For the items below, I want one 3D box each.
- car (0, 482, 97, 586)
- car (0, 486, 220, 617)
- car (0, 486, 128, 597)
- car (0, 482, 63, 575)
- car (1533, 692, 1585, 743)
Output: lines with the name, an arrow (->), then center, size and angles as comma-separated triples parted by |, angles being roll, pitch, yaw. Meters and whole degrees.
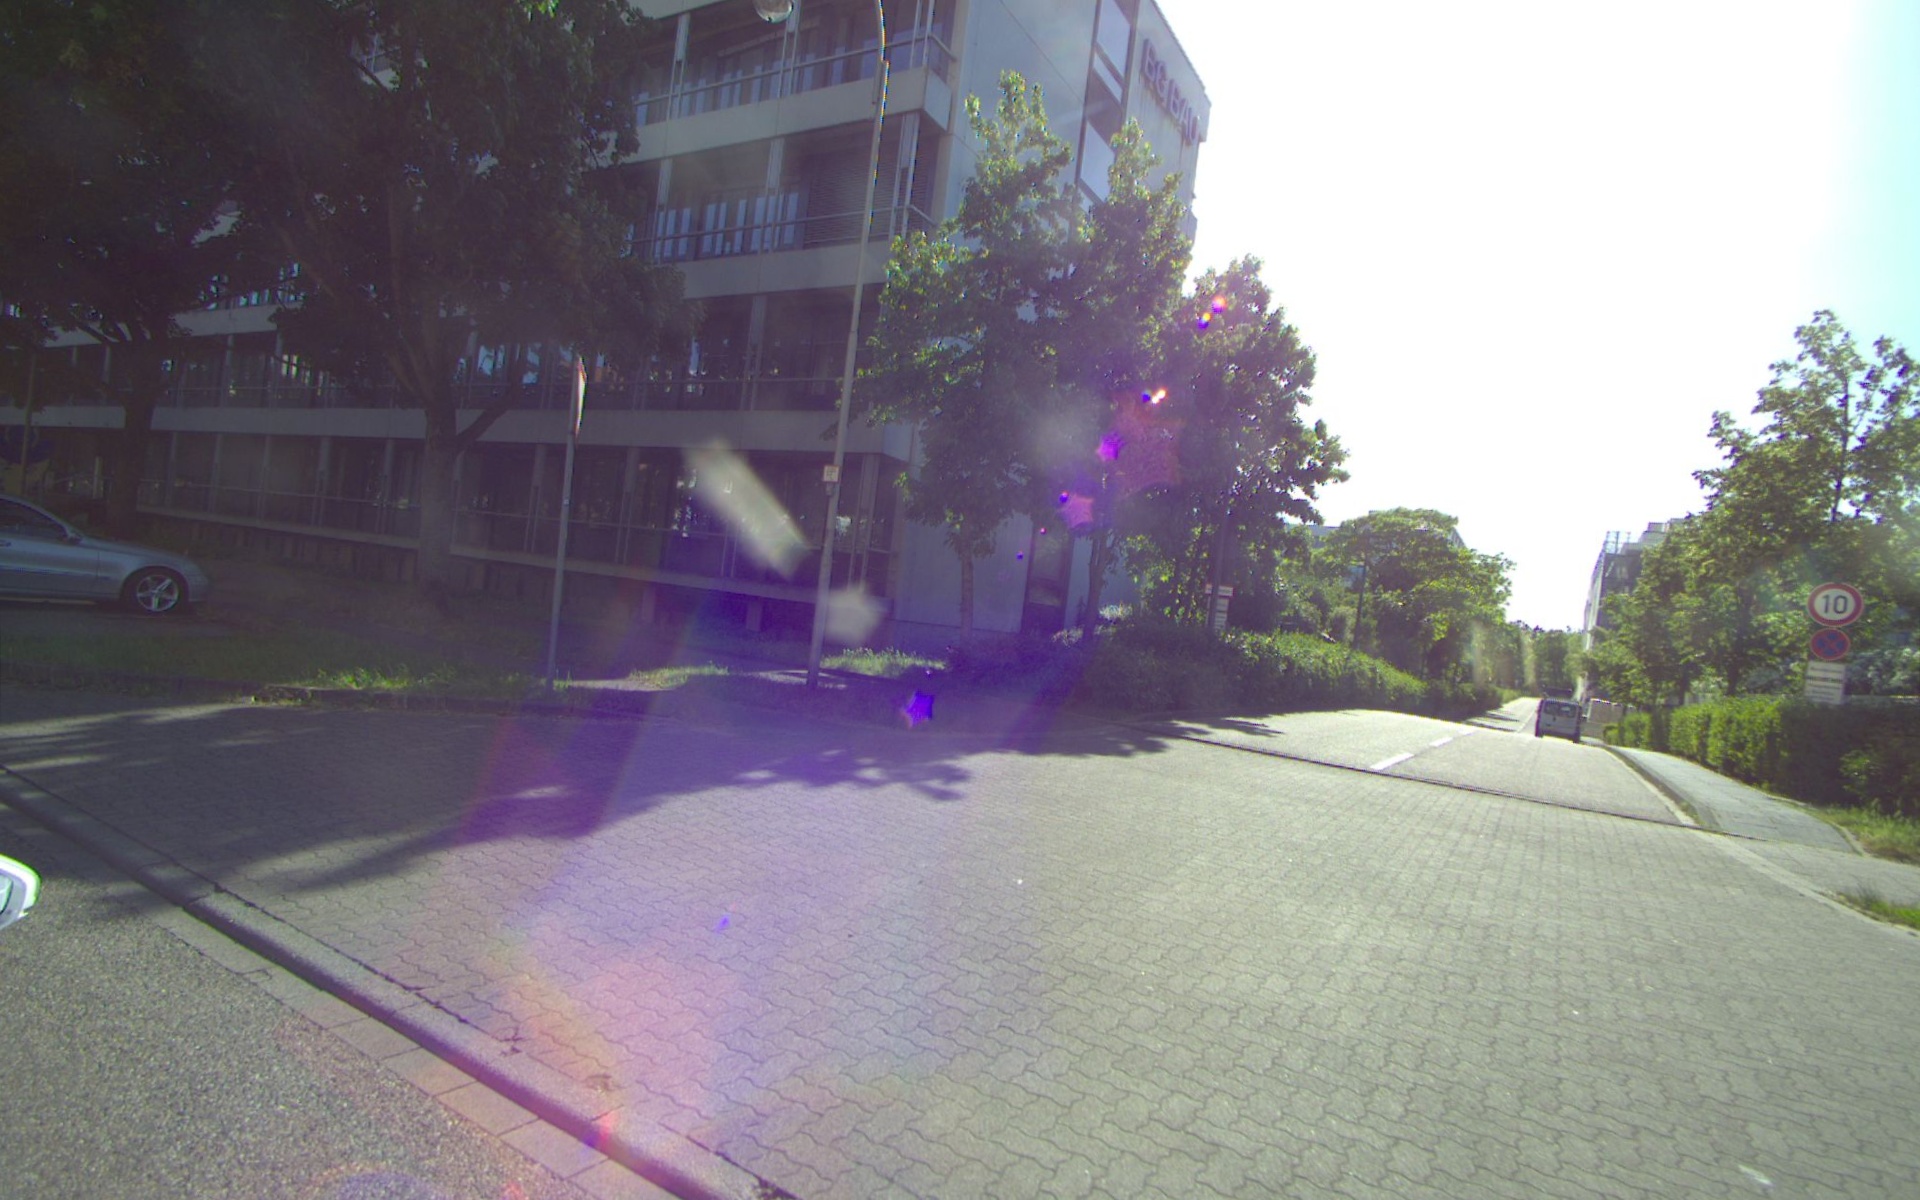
car -> -16.548, -1.227, 15.543 | 1.892, 1.562, 4.514 | 7, 1, 35
car -> -12.191, -0.691, 12.404 | 1.718, 1.494, 4.580 | 7, 1, 32
car -> -14.476, -0.963, 14.182 | 1.892, 1.466, 3.836 | 7, 1, 35
car -> -18.477, -1.445, 17.051 | 1.891, 1.562, 4.514 | 7, 1, 34
car -> 29.588, 5.758, 49.761 | 1.893, 2.135, 3.993 | 7, 0, 30
